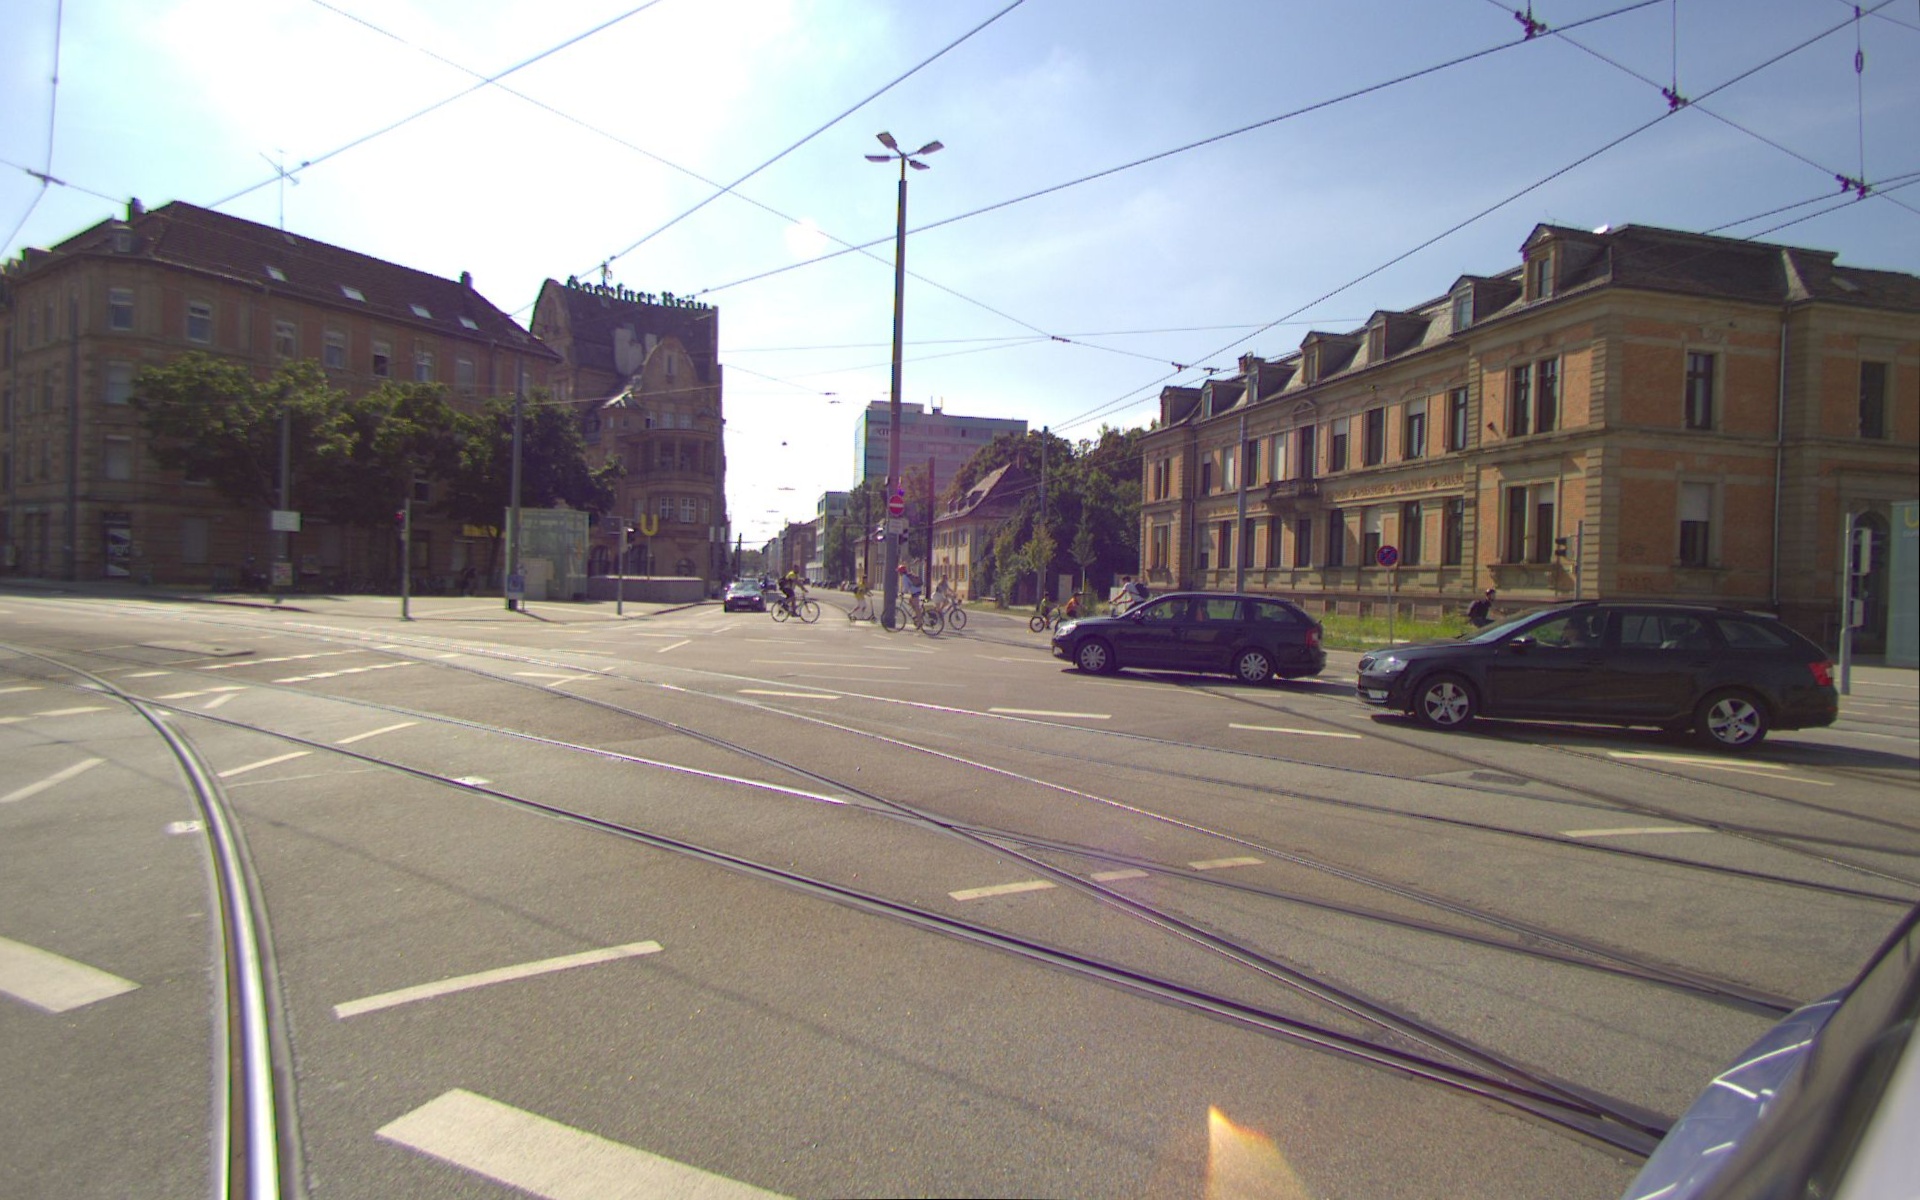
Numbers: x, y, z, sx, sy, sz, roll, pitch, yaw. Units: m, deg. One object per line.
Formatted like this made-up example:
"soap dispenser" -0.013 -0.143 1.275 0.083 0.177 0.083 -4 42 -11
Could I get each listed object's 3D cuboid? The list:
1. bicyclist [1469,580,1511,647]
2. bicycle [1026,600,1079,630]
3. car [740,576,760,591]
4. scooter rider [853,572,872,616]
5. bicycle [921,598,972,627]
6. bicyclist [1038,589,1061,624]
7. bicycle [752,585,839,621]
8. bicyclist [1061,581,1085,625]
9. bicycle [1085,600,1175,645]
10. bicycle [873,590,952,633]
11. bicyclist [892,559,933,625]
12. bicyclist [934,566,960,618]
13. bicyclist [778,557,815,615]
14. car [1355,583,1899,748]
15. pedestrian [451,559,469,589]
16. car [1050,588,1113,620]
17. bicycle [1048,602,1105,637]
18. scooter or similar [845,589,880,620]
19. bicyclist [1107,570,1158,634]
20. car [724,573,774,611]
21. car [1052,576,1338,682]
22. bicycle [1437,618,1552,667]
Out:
"bicyclist" 13.349 0.349 25.485 0.779 1.645 0.659 2 -1 40
"bicycle" 2.870 0.468 31.431 1.565 0.877 0.499 2 -1 16
"car" -19.597 -1.541 94.483 1.604 1.362 3.591 2 1 -14
"scooter rider" -3.177 -0.199 33.139 0.401 1.415 0.585 1 -2 16
"bicycle" -0.436 0.395 32.971 1.569 0.877 0.498 2 -1 22
"bicyclist" 2.798 0.199 31.465 0.597 1.042 0.499 2 -1 15
"bicycle" -5.375 0.095 33.226 2.694 1.083 0.929 2 -1 -1
"bicyclist" 3.264 0.077 29.150 0.595 1.211 0.518 3 1 14
"bicycle" 4.098 0.543 24.426 2.004 1.028 0.708 1 -2 31
"bicycle" -1.267 0.292 26.776 2.000 1.027 0.710 2 3 25
"bicyclist" -1.256 -0.218 26.745 0.865 1.690 0.711 2 3 25
"bicyclist" -0.428 -0.257 33.004 0.642 1.642 0.498 2 -2 22
"bicyclist" -5.350 -0.457 33.192 1.032 1.843 0.929 2 -2 -2
"car" 7.010 0.612 11.251 4.716 1.453 1.627 2 1 18
"pedestrian" -25.077 -1.304 50.792 0.697 1.451 0.615 2 -2 -21
"car" 5.634 0.161 47.370 1.637 1.330 3.460 2 1 -16
"bicycle" 3.361 0.557 29.240 1.552 0.897 0.518 3 1 14
"scooter or similar" -3.176 0.152 33.130 0.978 0.988 0.585 1 -2 17
"bicyclist" 4.157 0.054 24.398 0.947 1.507 0.705 0 -2 43
"car" -9.485 -0.399 45.730 1.606 1.603 4.003 2 1 -3
"car" 3.843 0.411 16.658 4.341 1.447 1.695 2 1 19
"bicycle" 13.392 1.040 25.406 2.452 1.083 0.659 2 -1 40
